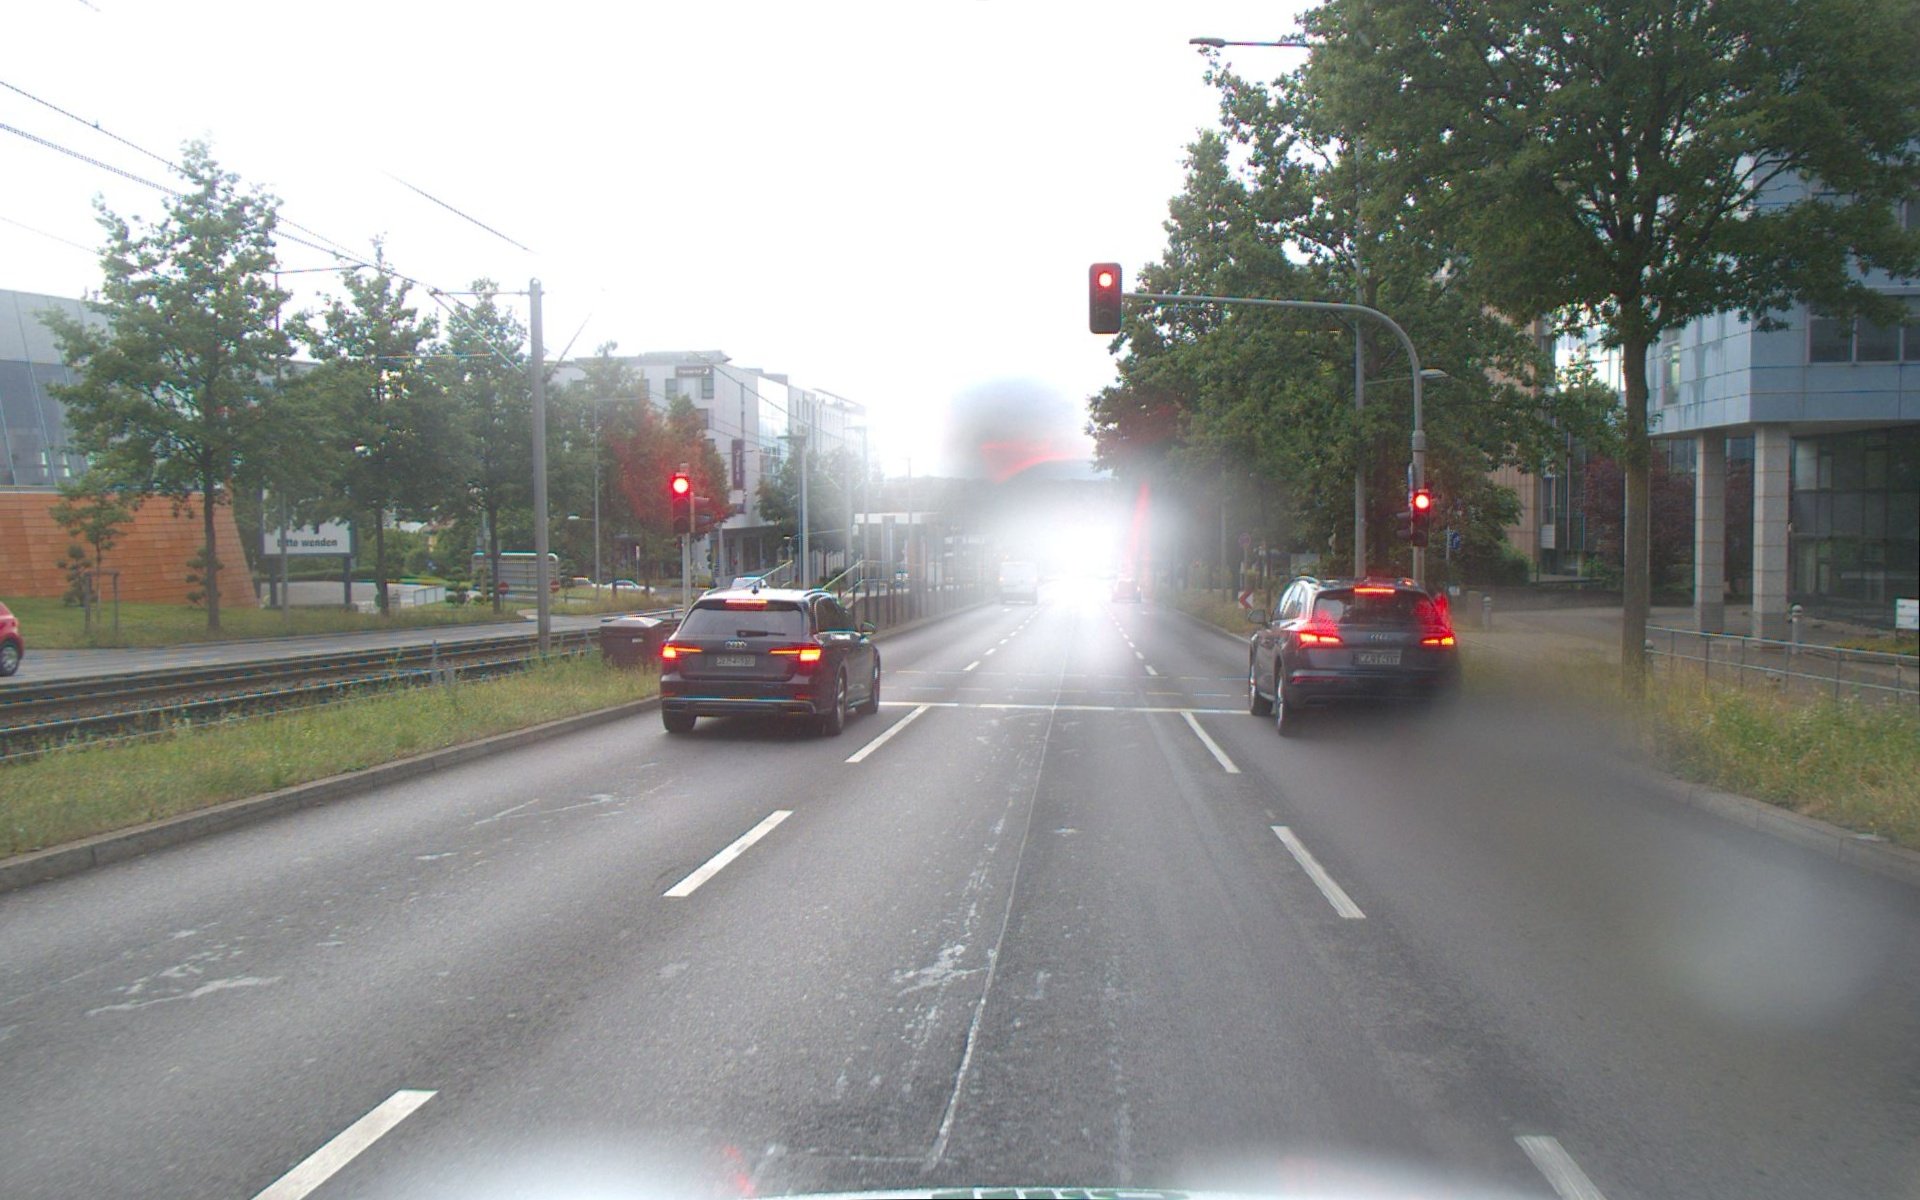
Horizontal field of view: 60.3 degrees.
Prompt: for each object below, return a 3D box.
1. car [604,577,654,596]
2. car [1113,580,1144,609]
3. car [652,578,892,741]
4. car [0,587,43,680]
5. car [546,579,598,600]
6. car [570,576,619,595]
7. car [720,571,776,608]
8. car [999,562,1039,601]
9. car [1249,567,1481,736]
[{"bbox_3d":[-27.571,-1.119,137.744,3.787,1.461,1.656,-2,0,1],"label":"car"},{"bbox_3d":[10.337,-0.336,101.559,1.737,1.720,3.847,0,1,4],"label":"car"},{"bbox_3d":[-1.844,0.523,17.636,1.743,1.492,4.516,1,1,4],"label":"car"},{"bbox_3d":[-16.809,0.603,26.706,1.551,1.539,4.103,-2,1,2],"label":"car"},{"bbox_3d":[-27.354,-0.770,116.543,3.299,1.411,1.433,1,1,21],"label":"car"},{"bbox_3d":[-31.021,-1.238,140.438,4.015,1.461,1.652,-2,0,-11],"label":"car"},{"bbox_3d":[-10.661,-0.533,83.498,1.952,1.749,4.843,-2,1,3],"label":"car"},{"bbox_3d":[3.264,-1.017,90.792,2.049,2.089,4.609,0,1,3],"label":"car"},{"bbox_3d":[4.381,0.480,18.567,1.779,1.641,4.473,1,1,4],"label":"car"}]
